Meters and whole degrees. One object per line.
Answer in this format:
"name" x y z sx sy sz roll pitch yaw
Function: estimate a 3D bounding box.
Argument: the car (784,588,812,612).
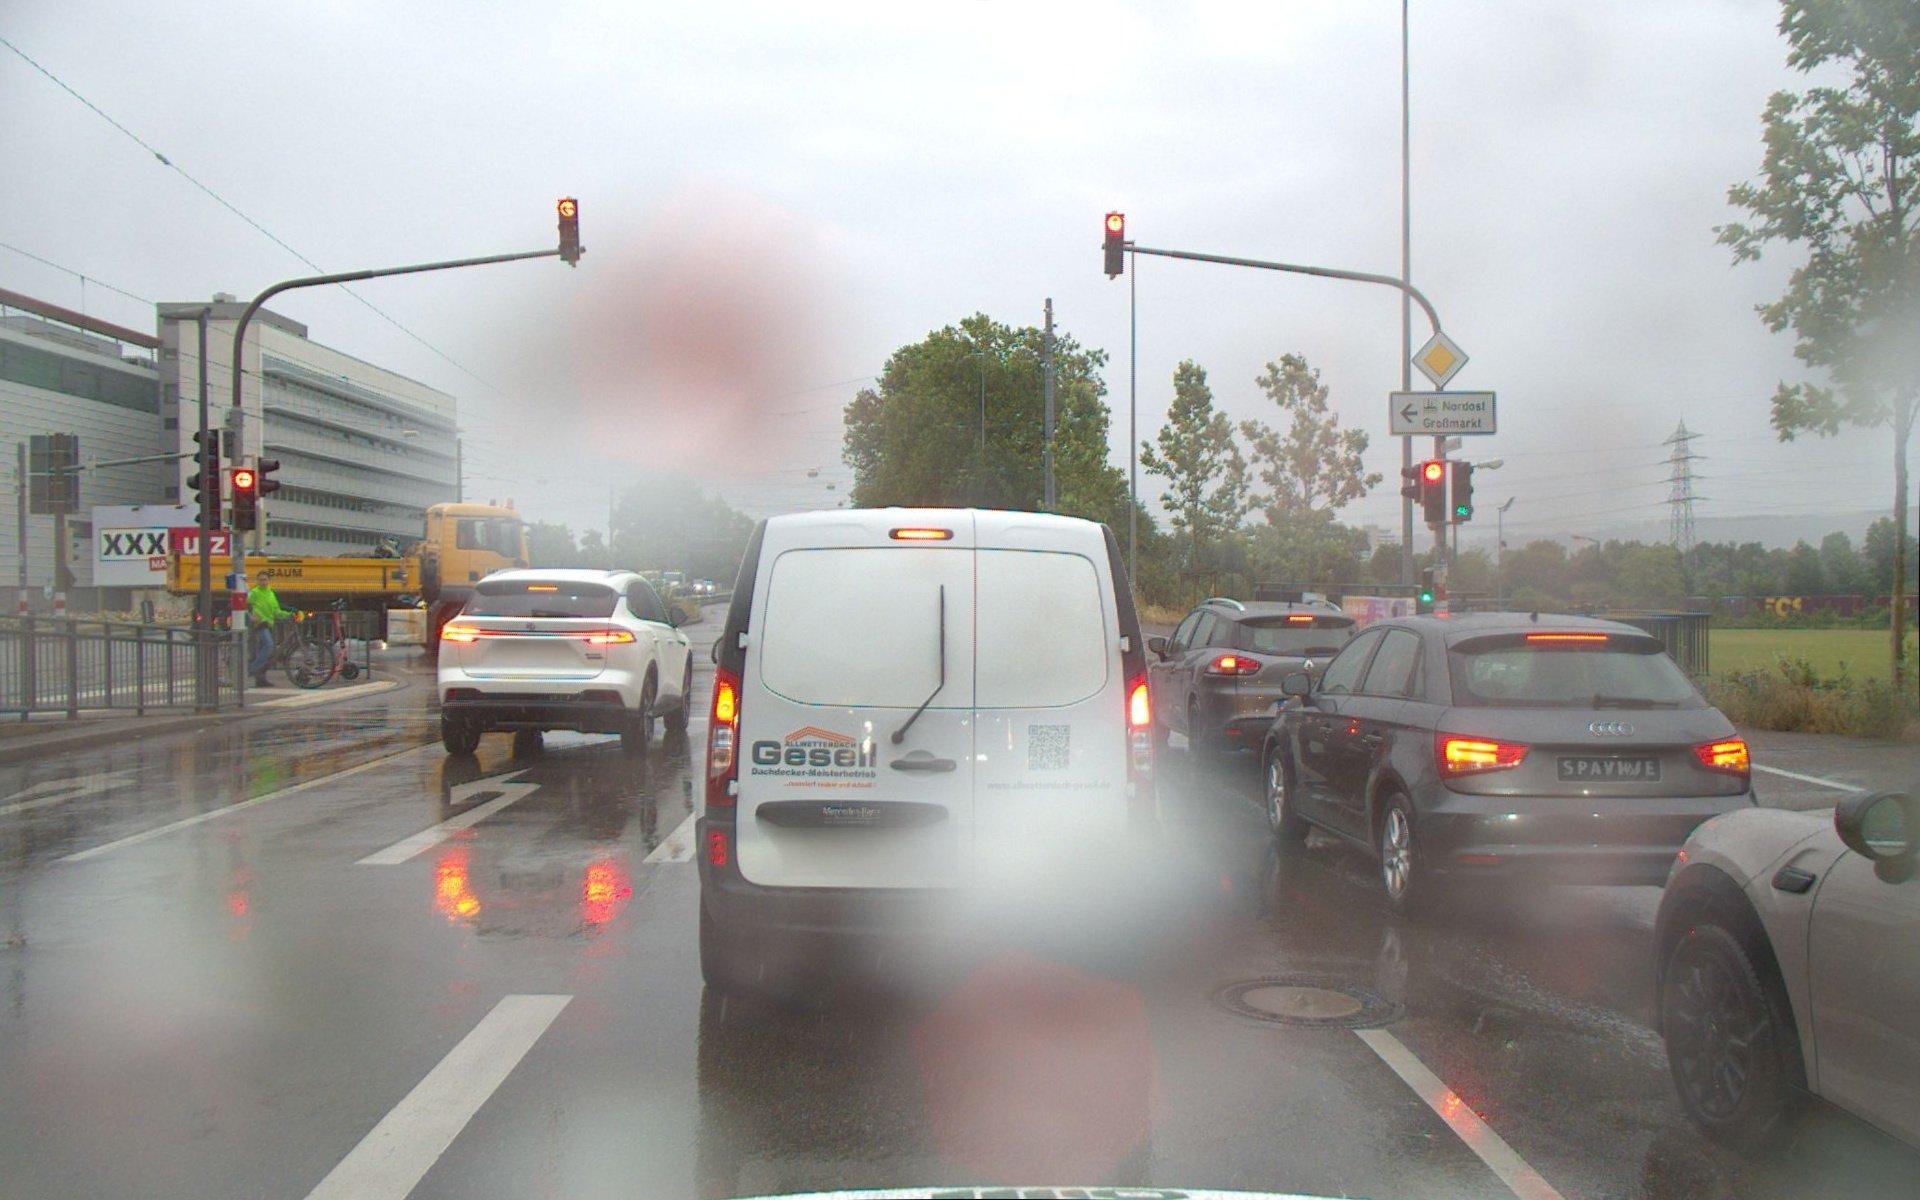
"car" -10.732 -0.013 109.402 1.585 1.530 3.706 1 0 -10

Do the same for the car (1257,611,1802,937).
"car" 2.790 0.765 8.949 1.596 1.368 3.622 1 0 -2

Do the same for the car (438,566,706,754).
"car" -3.591 0.480 16.078 1.694 1.562 4.296 1 1 -2

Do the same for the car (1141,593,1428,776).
"car" 2.887 0.692 15.547 1.822 1.453 3.806 1 1 -2

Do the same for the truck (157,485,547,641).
"truck" -12.120 -0.639 33.171 7.044 2.865 2.615 1 0 -30

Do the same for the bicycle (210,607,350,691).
"bicycle" -9.562 0.683 23.295 1.716 1.052 0.414 4 -1 -3

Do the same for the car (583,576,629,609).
"car" -22.166 -0.451 103.650 1.952 2.049 4.000 1 0 1

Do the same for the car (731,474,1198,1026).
"car" -0.009 0.503 7.481 1.534 1.819 3.999 0 0 -1

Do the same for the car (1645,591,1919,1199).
"car" 2.966 0.763 3.199 1.679 1.534 3.622 1 0 -2

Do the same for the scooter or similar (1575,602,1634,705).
"scooter or similar" 7.616 0.617 19.574 0.240 1.178 1.186 1 0 1

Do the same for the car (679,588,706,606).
"car" -26.860 -0.323 166.002 1.952 1.738 4.000 1 0 1
